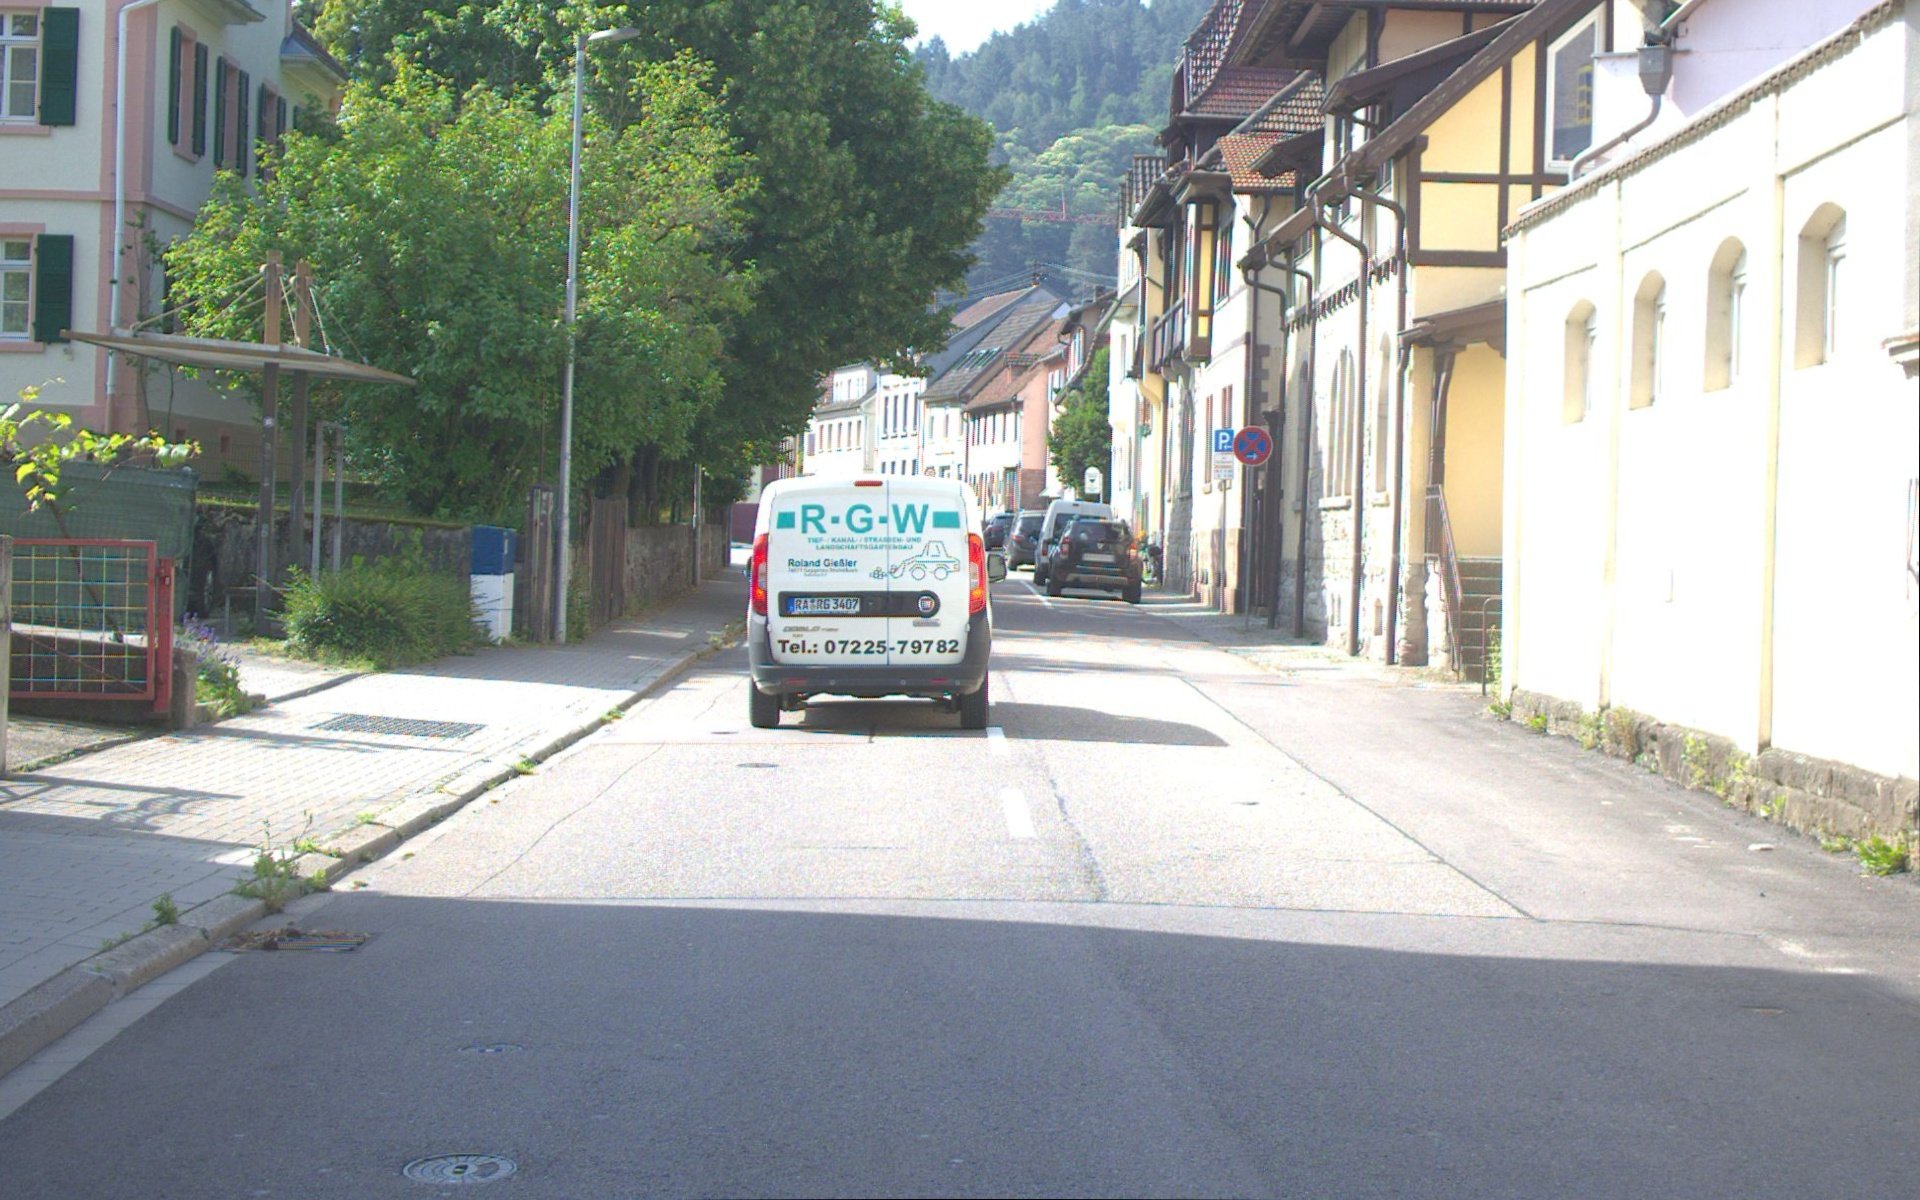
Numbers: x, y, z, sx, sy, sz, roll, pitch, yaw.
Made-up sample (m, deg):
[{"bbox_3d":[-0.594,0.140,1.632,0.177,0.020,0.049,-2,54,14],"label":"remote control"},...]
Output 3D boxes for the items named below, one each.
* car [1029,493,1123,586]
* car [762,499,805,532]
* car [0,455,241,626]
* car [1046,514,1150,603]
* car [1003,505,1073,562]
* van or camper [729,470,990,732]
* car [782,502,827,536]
[{"bbox_3d":[2.650,-1.402,79.487,1.871,2.007,4.000,3,1,-1],"label":"car"},{"bbox_3d":[-10.031,-4.794,194.799,1.771,1.792,4.001,2,1,-12],"label":"car"},{"bbox_3d":[-8.305,-0.620,33.505,1.615,1.457,4.394,4,2,-1],"label":"car"},{"bbox_3d":[2.752,-0.862,69.303,1.810,1.591,3.927,4,2,0],"label":"car"},{"bbox_3d":[2.156,-1.866,95.900,1.669,1.503,4.001,1,1,-2],"label":"car"},{"bbox_3d":[-0.771,-0.036,26.486,1.828,1.838,4.189,1,1,-2],"label":"van or camper"},{"bbox_3d":[-8.515,-4.458,188.294,1.771,1.792,4.001,2,1,-12],"label":"car"}]
